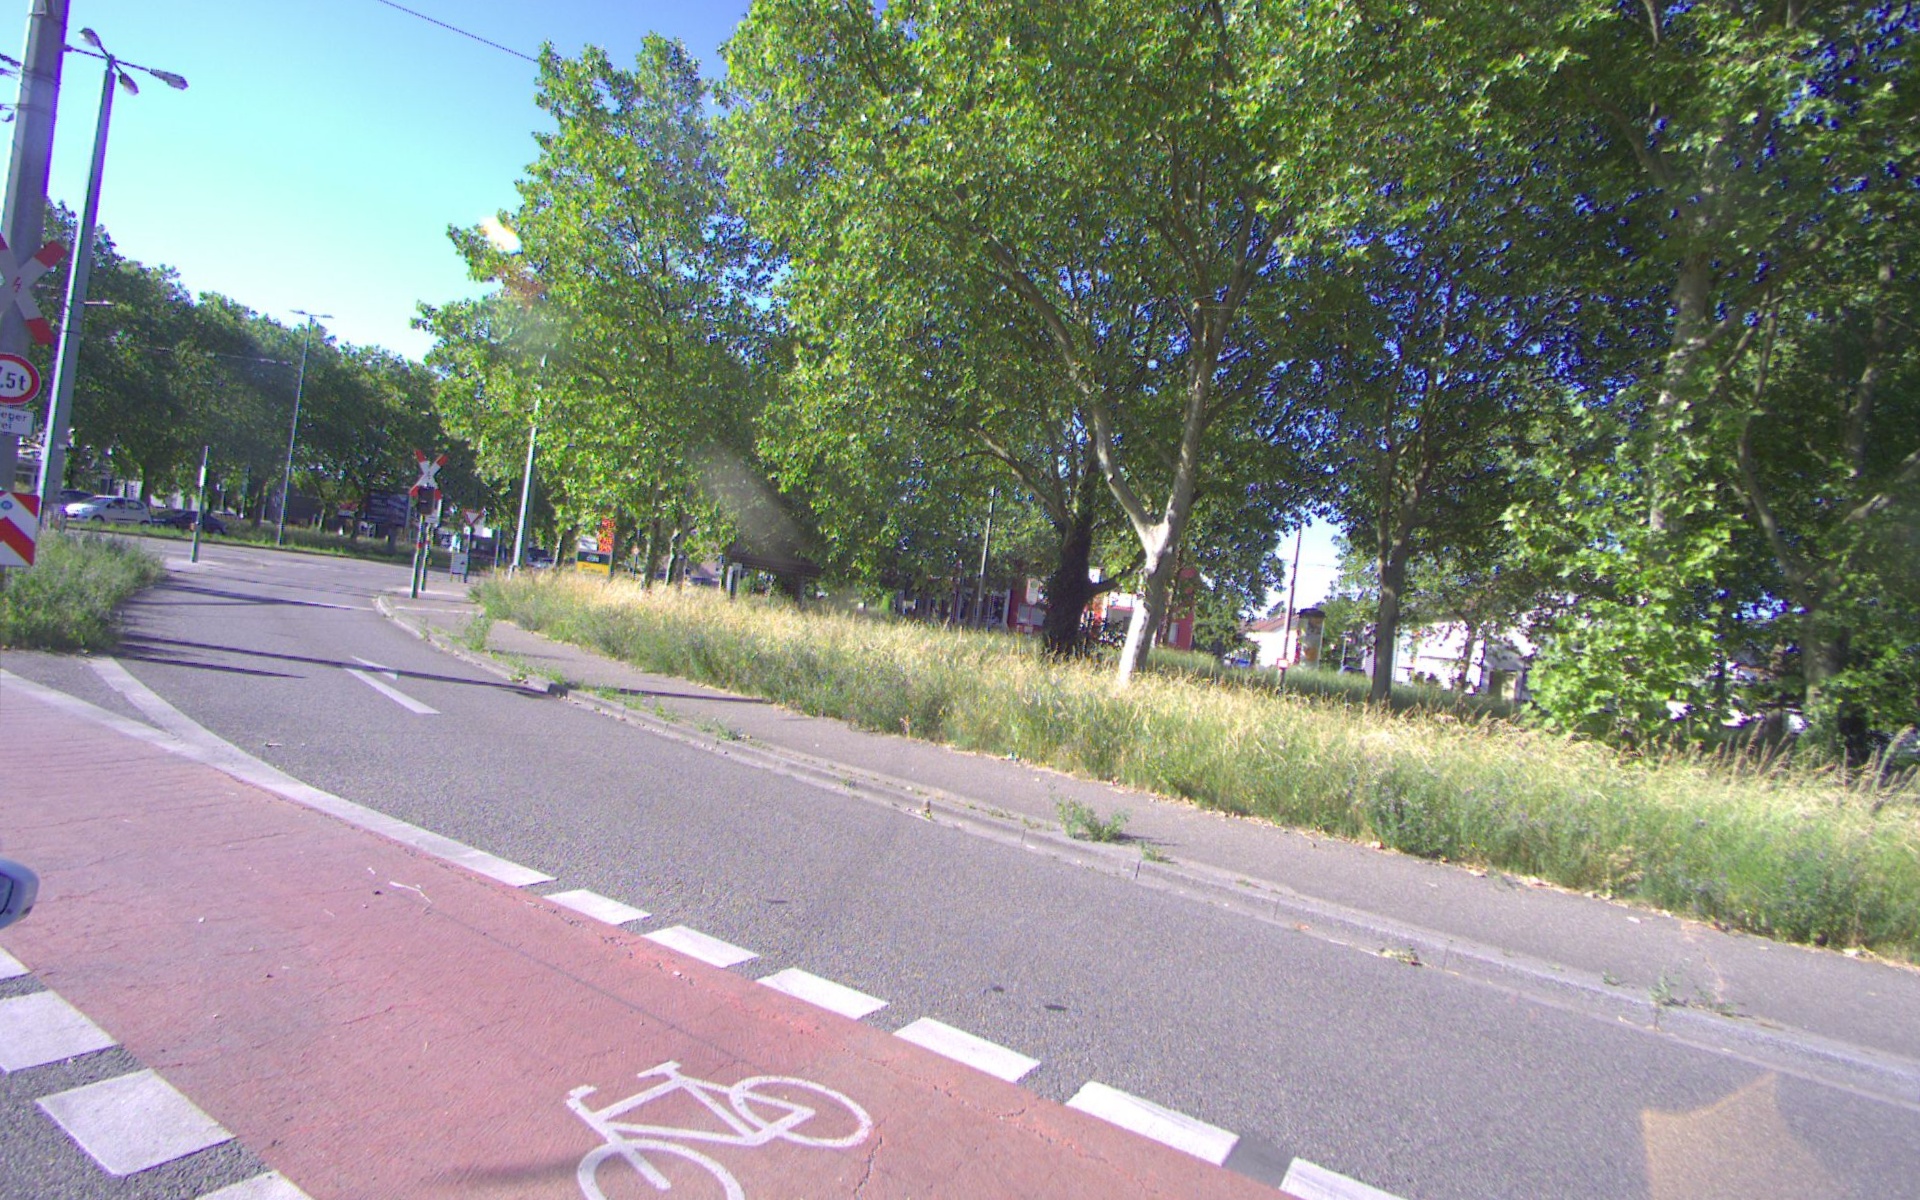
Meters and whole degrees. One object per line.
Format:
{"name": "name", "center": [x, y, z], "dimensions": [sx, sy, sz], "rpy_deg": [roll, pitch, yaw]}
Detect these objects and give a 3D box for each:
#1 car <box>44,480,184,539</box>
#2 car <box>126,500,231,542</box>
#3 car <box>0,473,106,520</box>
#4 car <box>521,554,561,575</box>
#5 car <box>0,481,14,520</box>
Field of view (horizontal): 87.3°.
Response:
{"name": "car", "center": [-40.469, -4.290, 48.289], "dimensions": [1.962, 2.038, 4.907], "rpy_deg": [7, -1, 9]}
{"name": "car", "center": [-42.936, -4.313, 55.392], "dimensions": [1.661, 1.593, 4.528], "rpy_deg": [7, -1, 9]}
{"name": "car", "center": [-44.069, -4.990, 48.873], "dimensions": [1.462, 1.589, 3.758], "rpy_deg": [7, -1, 9]}
{"name": "car", "center": [-39.153, -3.335, 94.075], "dimensions": [1.563, 1.519, 4.002], "rpy_deg": [7, -1, 6]}
{"name": "car", "center": [-41.043, -4.325, 40.565], "dimensions": [1.575, 1.549, 4.002], "rpy_deg": [7, 0, 9]}
